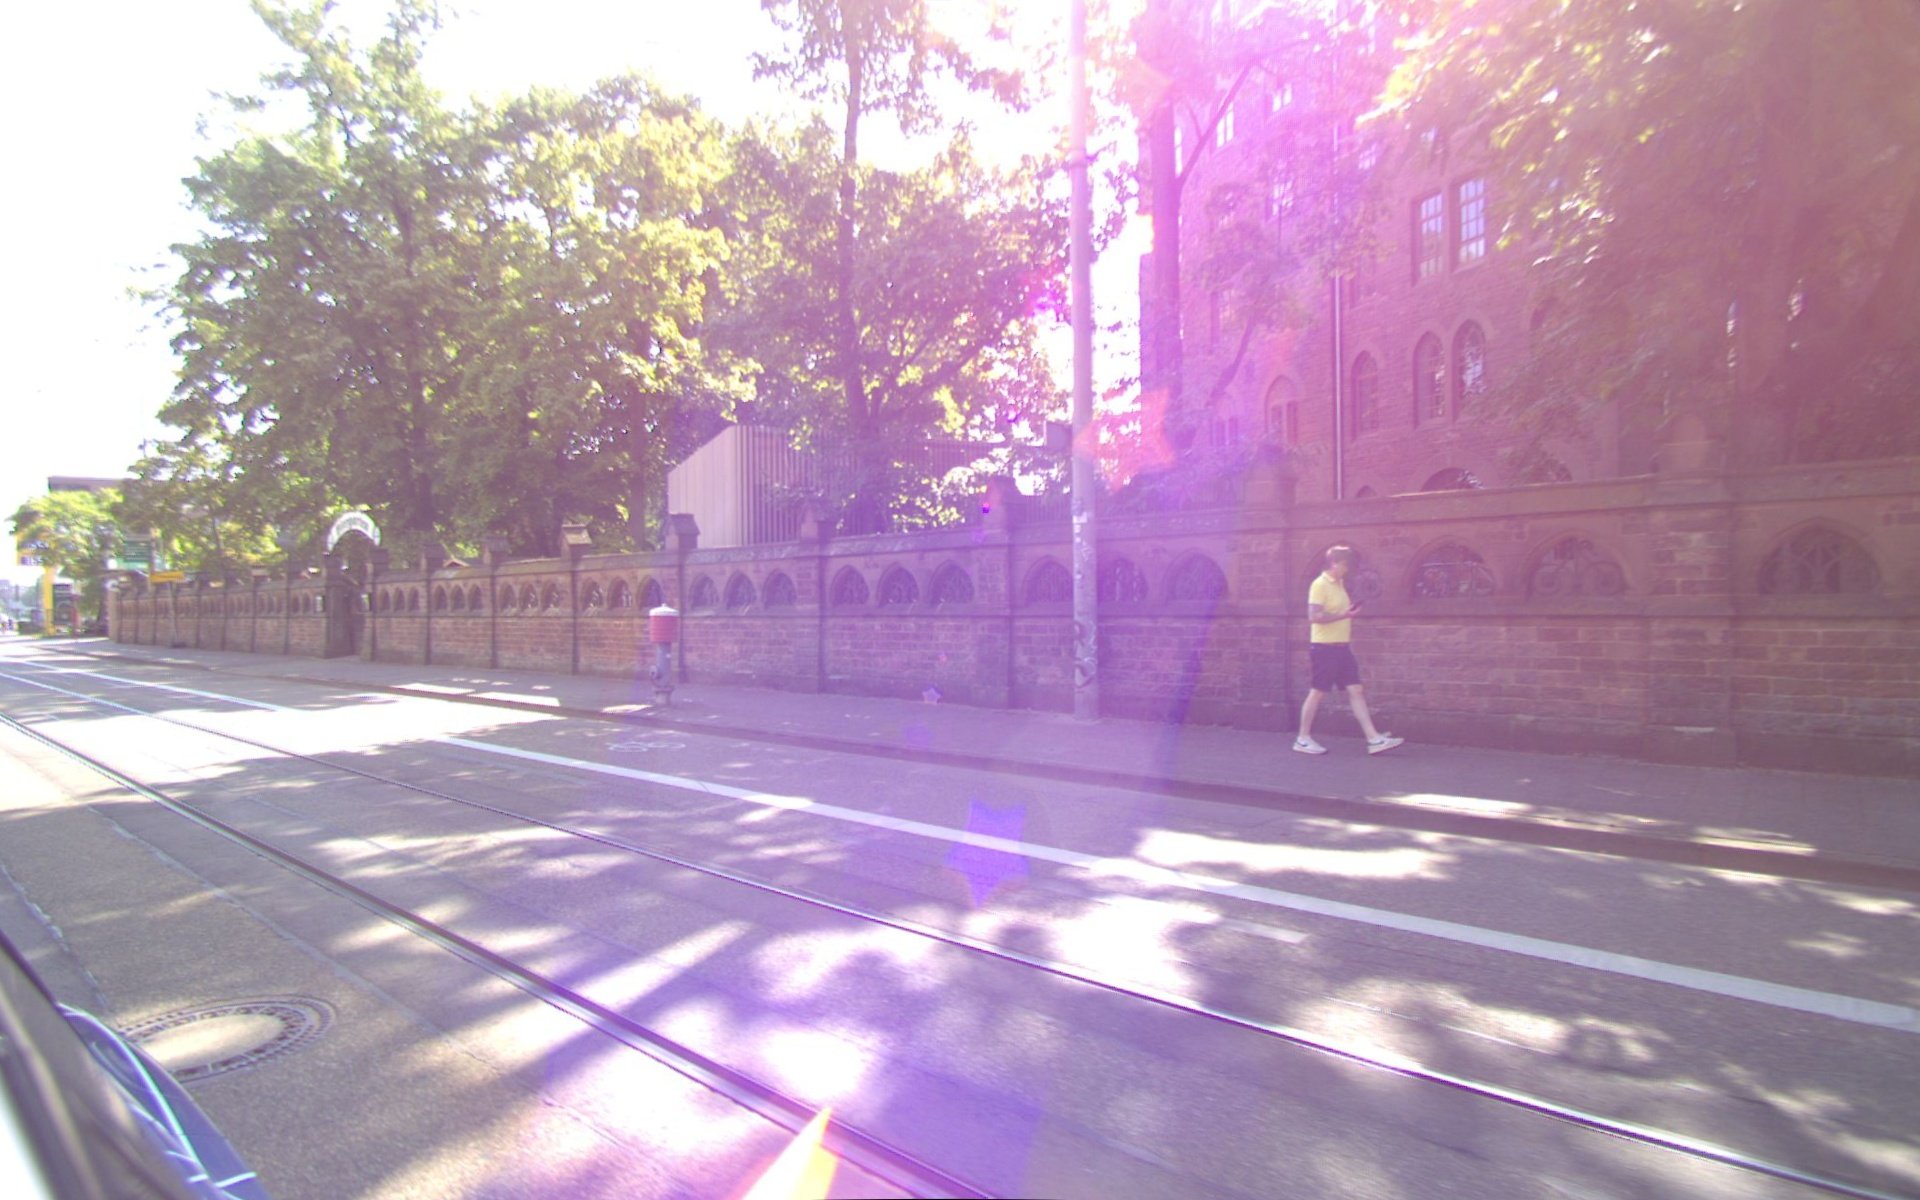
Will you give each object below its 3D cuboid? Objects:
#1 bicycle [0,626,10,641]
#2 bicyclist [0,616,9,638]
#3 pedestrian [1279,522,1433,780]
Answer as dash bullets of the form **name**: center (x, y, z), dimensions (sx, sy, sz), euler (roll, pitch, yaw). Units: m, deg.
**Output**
- **bicycle**: center (-82.693, 2.926, 87.489), dimensions (0.776, 1.249, 2.036), euler (-1, 0, -43)
- **bicyclist**: center (-82.830, 2.339, 87.607), dimensions (0.633, 1.944, 1.177), euler (-1, 0, -41)
- **pedestrian**: center (3.361, 0.401, 8.591), dimensions (0.982, 2.029, 0.855), euler (-1, 0, 39)
